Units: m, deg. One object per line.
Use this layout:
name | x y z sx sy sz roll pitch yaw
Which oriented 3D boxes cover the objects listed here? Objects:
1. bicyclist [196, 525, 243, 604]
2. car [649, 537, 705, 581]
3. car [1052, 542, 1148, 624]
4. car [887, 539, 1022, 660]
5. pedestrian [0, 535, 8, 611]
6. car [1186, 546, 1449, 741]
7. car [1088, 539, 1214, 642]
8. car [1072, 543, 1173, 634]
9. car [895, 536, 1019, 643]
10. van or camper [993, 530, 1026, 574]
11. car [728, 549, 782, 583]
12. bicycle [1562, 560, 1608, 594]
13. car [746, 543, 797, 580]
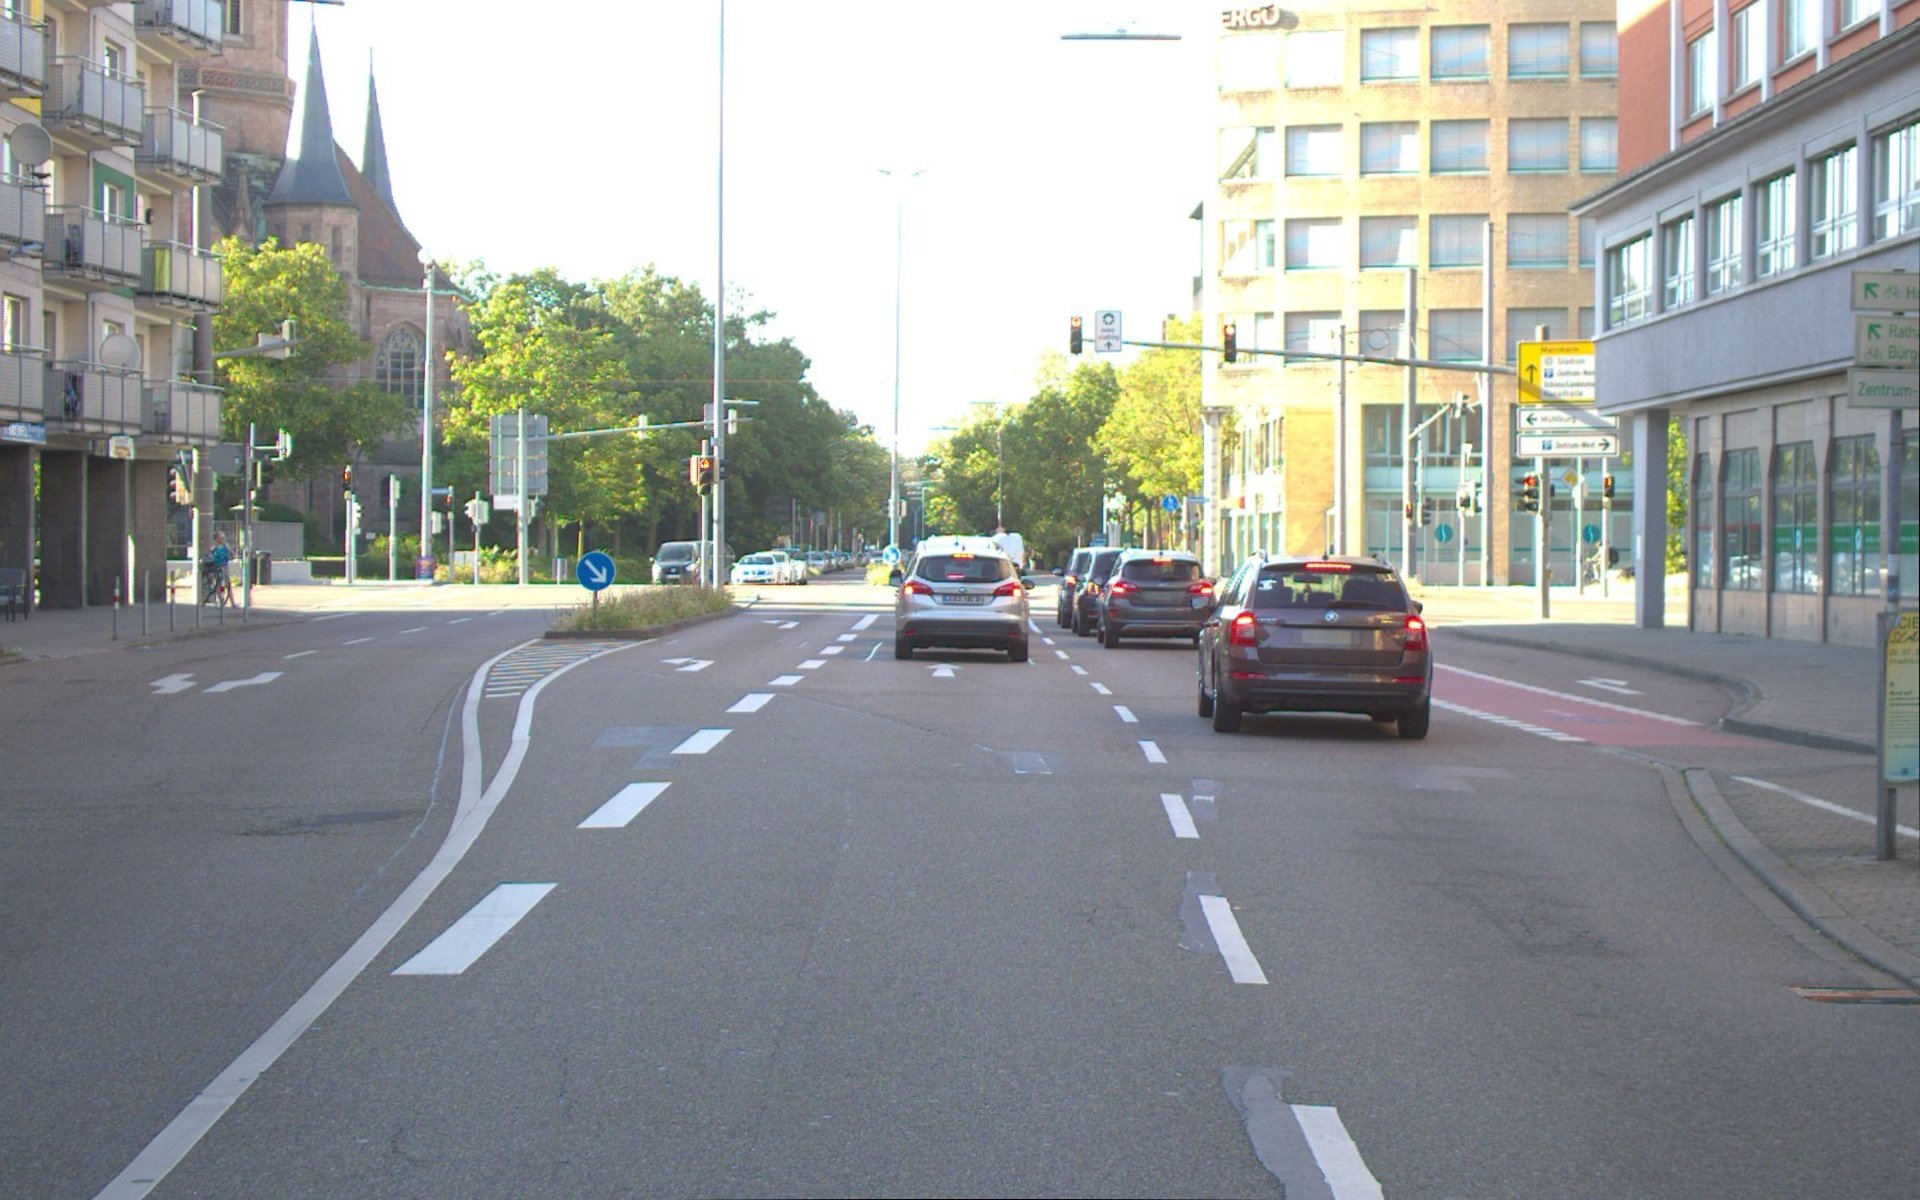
bicyclist | -15.674 -0.753 72.754 0.782 1.654 0.901 1 1 0
car | -10.834 -1.591 131.642 1.780 1.641 4.000 0 1 0
car | 2.604 -0.339 64.590 1.584 1.442 3.648 2 1 0
car | -0.080 -0.046 46.514 1.707 1.504 4.309 1 1 0
pedestrian | -17.684 -0.500 62.580 0.484 1.379 0.481 1 1 20
car | 2.907 0.305 28.727 1.707 1.452 4.159 1 1 0
car | 2.911 -0.181 53.056 1.650 1.479 4.239 1 1 0
car | 2.773 -0.220 59.118 1.489 1.500 3.479 0 1 -1
car | -0.079 -0.194 52.523 1.803 1.563 3.619 0 1 -1
van or camper | 3.034 -2.944 210.529 1.993 2.631 5.350 0 1 1
car | -7.803 -1.311 131.081 1.780 1.232 4.000 0 1 0
bicycle | 21.624 -0.791 118.993 1.520 1.168 0.475 0 1 7
car | -7.536 -1.550 137.651 1.780 1.459 4.000 0 1 0
